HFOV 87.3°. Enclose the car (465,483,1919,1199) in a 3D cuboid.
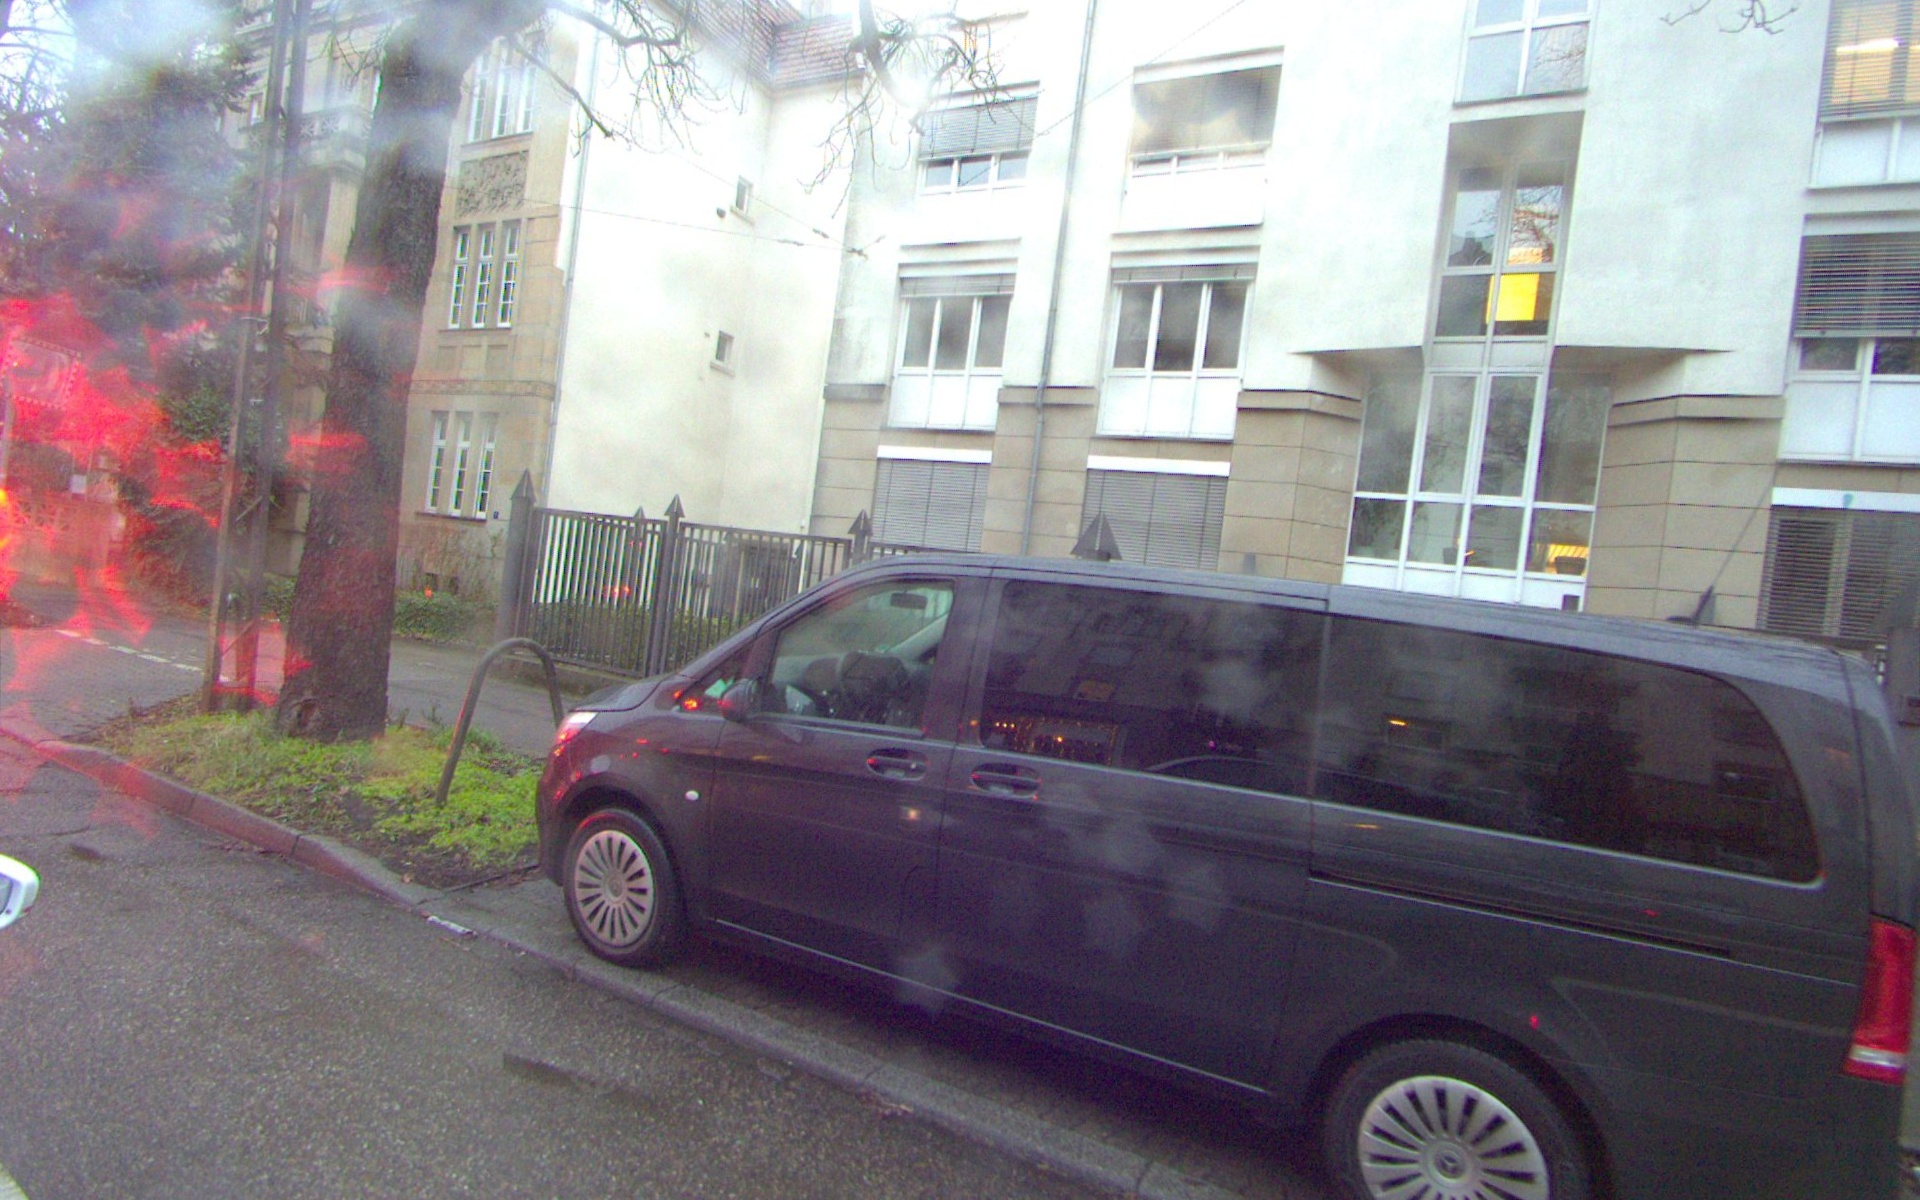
[{"bbox_3d":[0.539,0.769,4.151,4.877,1.899,2.035,7,0,28],"label":"car"}]
